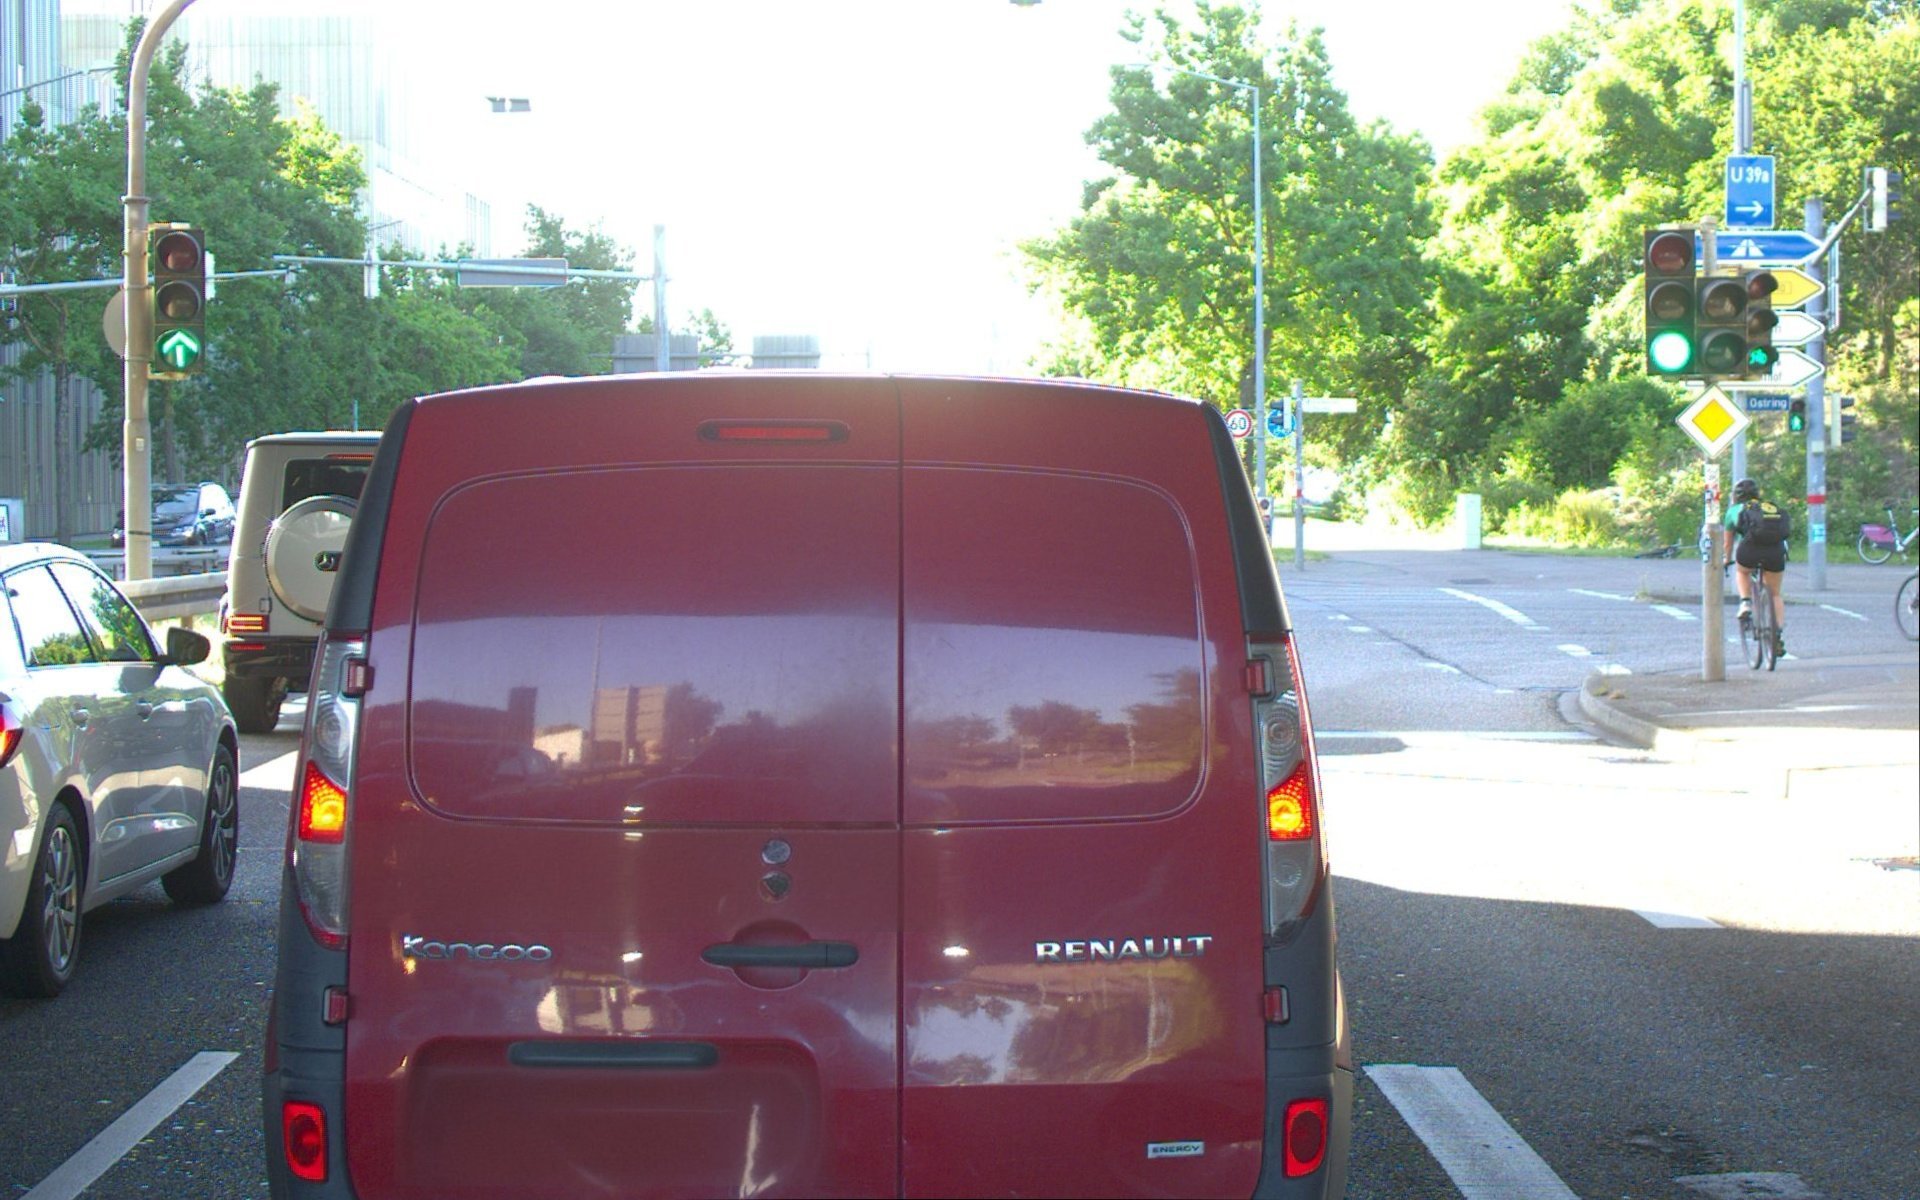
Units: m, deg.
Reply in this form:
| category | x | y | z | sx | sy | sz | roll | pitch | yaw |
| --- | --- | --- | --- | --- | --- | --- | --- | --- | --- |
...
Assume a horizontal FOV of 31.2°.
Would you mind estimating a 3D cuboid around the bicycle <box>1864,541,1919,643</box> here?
| category | x | y | z | sx | sy | sz | roll | pitch | yaw |
| --- | --- | --- | --- | --- | --- | --- | --- | --- | --- |
| bicycle | 9.917 | -0.081 | 34.526 | 0.671 | 1.020 | 2.056 | 1 | 1 | -15 |

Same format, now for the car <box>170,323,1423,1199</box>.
| category | x | y | z | sx | sy | sz | roll | pitch | yaw |
| --- | --- | --- | --- | --- | --- | --- | --- | --- | --- |
| car | -0.264 | 0.485 | 7.001 | 1.805 | 1.788 | 4.000 | 1 | 1 | -1 |

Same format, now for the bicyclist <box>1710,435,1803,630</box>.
| category | x | y | z | sx | sy | sz | roll | pitch | yaw |
| --- | --- | --- | --- | --- | --- | --- | --- | --- | --- |
| bicyclist | 6.698 | -0.566 | 28.932 | 0.592 | 1.608 | 0.942 | 1 | 0 | 4 |

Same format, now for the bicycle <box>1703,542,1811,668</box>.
| category | x | y | z | sx | sy | sz | roll | pitch | yaw |
| --- | --- | --- | --- | --- | --- | --- | --- | --- | --- |
| bicycle | 6.710 | 0.035 | 29.019 | 0.592 | 1.020 | 1.750 | 1 | 1 | 4 |

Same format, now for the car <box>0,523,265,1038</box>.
| category | x | y | z | sx | sy | sz | roll | pitch | yaw |
| --- | --- | --- | --- | --- | --- | --- | --- | --- | --- |
| car | -3.634 | 0.476 | 11.736 | 1.813 | 1.433 | 3.731 | 0 | 2 | -1 |

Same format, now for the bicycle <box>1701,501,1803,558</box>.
| category | x | y | z | sx | sy | sz | roll | pitch | yaw |
| --- | --- | --- | --- | --- | --- | --- | --- | --- | --- |
| bicycle | 14.344 | -1.275 | 62.286 | 1.745 | 1.020 | 0.593 | 1 | 0 | 9 |

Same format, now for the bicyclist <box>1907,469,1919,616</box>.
| category | x | y | z | sx | sy | sz | roll | pitch | yaw |
| --- | --- | --- | --- | --- | --- | --- | --- | --- | --- |
| bicyclist | 9.970 | -0.570 | 34.339 | 0.664 | 1.469 | 0.751 | 1 | 0 | -15 |

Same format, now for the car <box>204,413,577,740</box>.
| category | x | y | z | sx | sy | sz | roll | pitch | yaw |
| --- | --- | --- | --- | --- | --- | --- | --- | --- | --- |
| car | -3.739 | -0.166 | 23.332 | 1.801 | 1.982 | 4.589 | 1 | 1 | -1 |

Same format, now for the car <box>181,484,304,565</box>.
| category | x | y | z | sx | sy | sz | roll | pitch | yaw |
| --- | --- | --- | --- | --- | --- | --- | --- | --- | --- |
| car | -16.430 | -1.737 | 78.900 | 1.824 | 1.731 | 4.530 | -2 | 2 | 0 |

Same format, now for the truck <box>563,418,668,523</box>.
| category | x | y | z | sx | sy | sz | roll | pitch | yaw |
| --- | --- | --- | --- | --- | --- | --- | --- | --- | --- |
| truck | -10.539 | -3.948 | 105.685 | 2.409 | 3.016 | 6.657 | -2 | 2 | 0 |

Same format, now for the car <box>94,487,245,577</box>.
| category | x | y | z | sx | sy | sz | roll | pitch | yaw |
| --- | --- | --- | --- | --- | --- | --- | --- | --- | --- |
| car | -16.431 | -1.443 | 71.644 | 1.825 | 1.731 | 4.629 | -2 | 2 | 3 |

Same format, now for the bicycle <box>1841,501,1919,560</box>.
| category | x | y | z | sx | sy | sz | roll | pitch | yaw |
| --- | --- | --- | --- | --- | --- | --- | --- | --- | --- |
| bicycle | 16.566 | -1.231 | 61.026 | 1.745 | 1.020 | 0.593 | 1 | 0 | 9 |

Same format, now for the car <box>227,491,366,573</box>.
| category | x | y | z | sx | sy | sz | roll | pitch | yaw |
| --- | --- | --- | --- | --- | --- | --- | --- | --- | --- |
| car | -14.020 | -1.463 | 72.919 | 1.825 | 1.620 | 4.529 | -2 | 2 | 3 |
